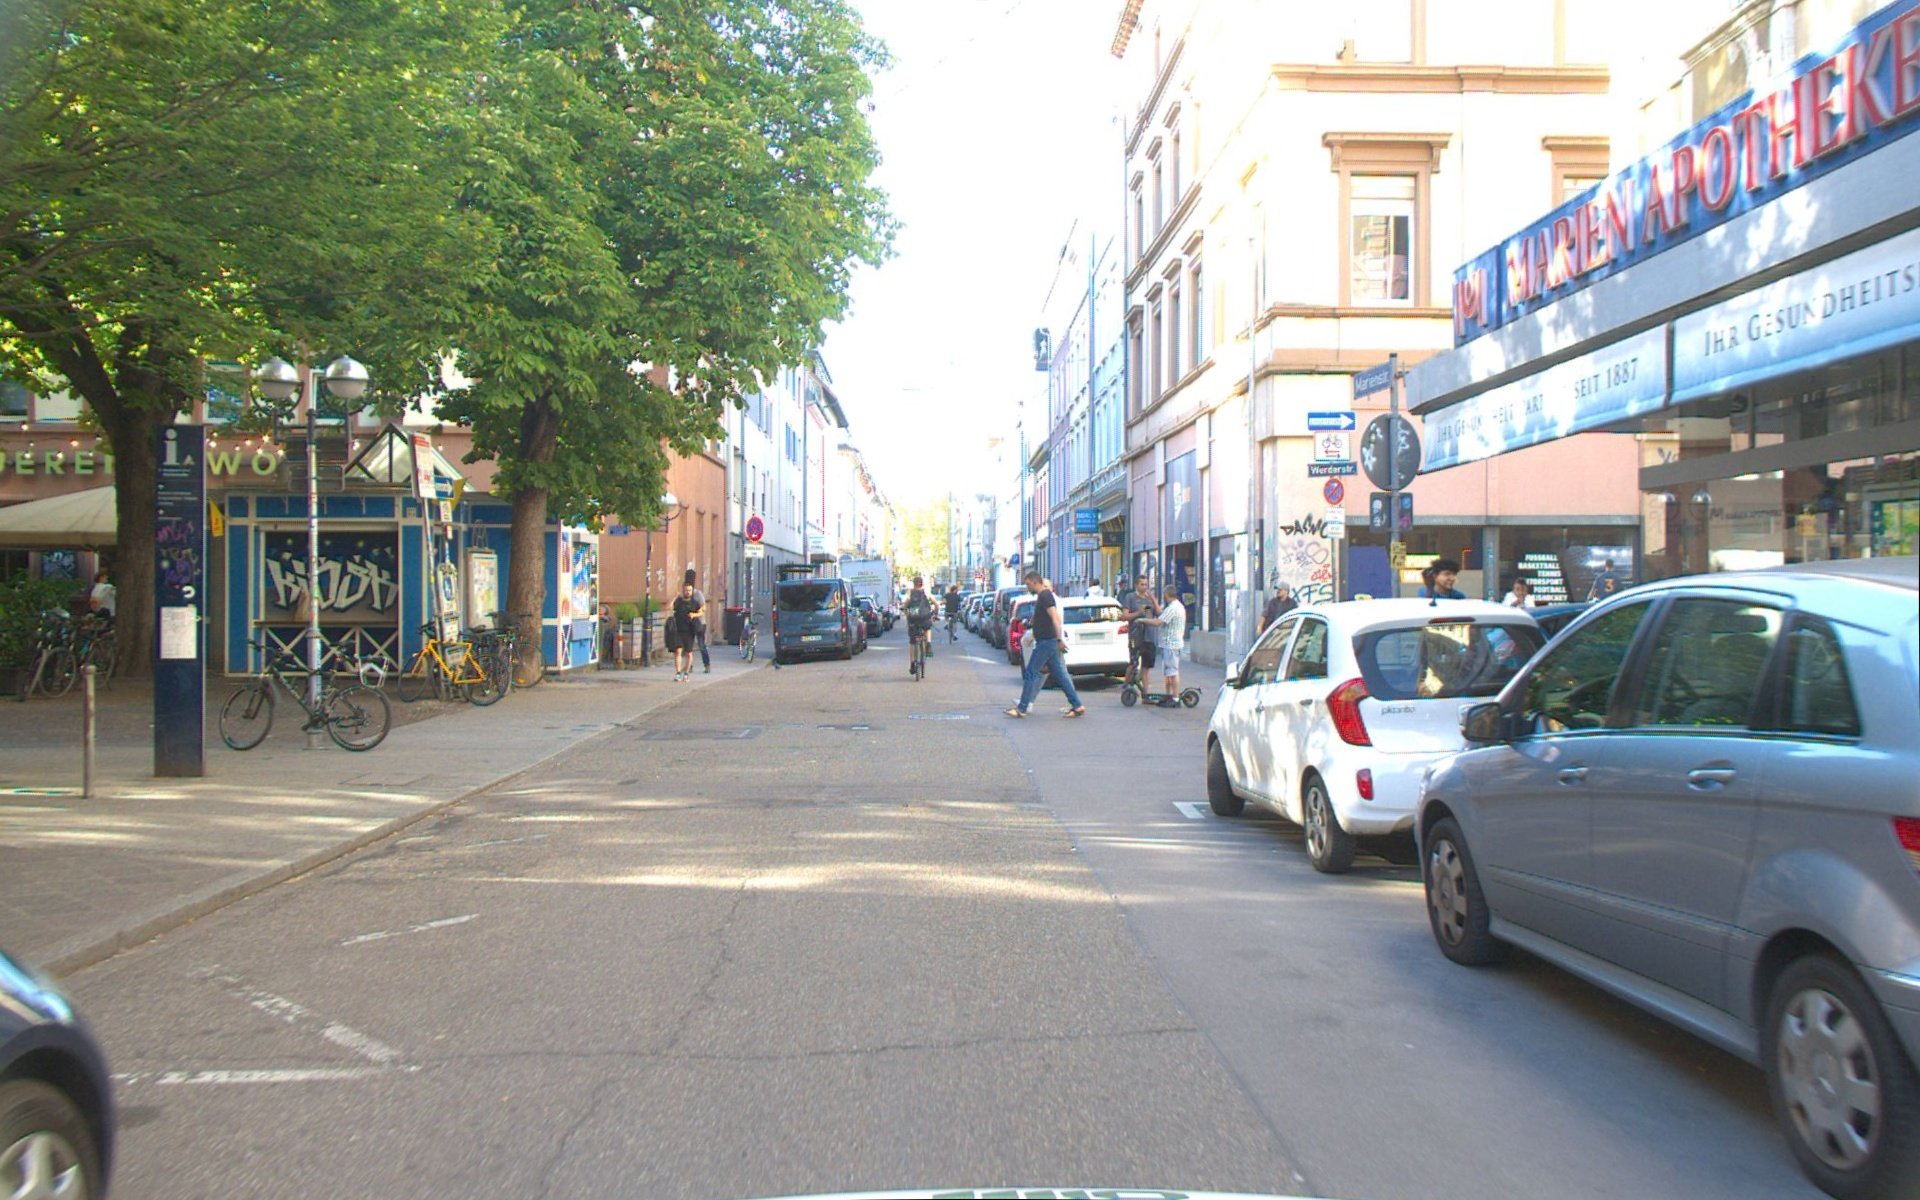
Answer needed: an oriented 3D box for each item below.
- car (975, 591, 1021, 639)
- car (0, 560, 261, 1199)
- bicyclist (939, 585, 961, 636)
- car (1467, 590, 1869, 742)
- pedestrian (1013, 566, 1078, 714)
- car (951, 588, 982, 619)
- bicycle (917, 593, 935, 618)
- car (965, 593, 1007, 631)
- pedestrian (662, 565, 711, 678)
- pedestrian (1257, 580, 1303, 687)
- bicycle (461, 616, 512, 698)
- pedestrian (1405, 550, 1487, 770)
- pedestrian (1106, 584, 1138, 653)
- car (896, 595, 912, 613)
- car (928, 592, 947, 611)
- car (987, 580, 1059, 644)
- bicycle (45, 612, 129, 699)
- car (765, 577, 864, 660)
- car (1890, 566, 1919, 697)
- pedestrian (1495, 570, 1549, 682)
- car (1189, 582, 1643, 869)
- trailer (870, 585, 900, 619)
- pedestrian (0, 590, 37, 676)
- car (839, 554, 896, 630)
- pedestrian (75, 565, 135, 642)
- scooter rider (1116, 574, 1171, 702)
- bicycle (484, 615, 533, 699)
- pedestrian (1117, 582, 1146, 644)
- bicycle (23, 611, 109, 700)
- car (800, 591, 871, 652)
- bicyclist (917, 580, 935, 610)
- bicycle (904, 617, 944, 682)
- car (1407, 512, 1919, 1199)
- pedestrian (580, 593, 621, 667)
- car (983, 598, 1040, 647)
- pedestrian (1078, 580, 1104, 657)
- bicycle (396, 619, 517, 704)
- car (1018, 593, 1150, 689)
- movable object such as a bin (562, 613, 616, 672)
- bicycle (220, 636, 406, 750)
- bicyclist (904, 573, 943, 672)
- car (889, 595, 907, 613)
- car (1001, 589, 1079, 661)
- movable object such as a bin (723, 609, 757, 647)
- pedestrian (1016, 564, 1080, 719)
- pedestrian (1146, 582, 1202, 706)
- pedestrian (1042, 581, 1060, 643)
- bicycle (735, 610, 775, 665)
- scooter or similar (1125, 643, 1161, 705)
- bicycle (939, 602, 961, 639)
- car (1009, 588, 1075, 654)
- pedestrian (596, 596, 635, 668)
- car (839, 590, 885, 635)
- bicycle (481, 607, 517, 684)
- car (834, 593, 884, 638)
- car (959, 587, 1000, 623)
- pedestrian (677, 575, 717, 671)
[{"bbox_3d":[1.424,0.562,62.883,1.525,1.742,3.557,1,0,-2],"label":"car"},{"bbox_3d":[-2.465,0.704,1.847,1.757,1.579,3.833,1,0,-1],"label":"car"},{"bbox_3d":[-0.327,0.325,52.414,0.657,1.595,0.716,1,-1,-1],"label":"bicyclist"},{"bbox_3d":[7.399,0.657,17.519,3.501,1.512,1.788,0,0,-1],"label":"car"},{"bbox_3d":[1.099,0.505,21.303,0.746,1.867,0.688,1,-1,-3],"label":"pedestrian"},{"bbox_3d":[0.384,0.225,105.539,1.715,1.911,3.969,-1,0,-4],"label":"car"},{"bbox_3d":[-1.915,0.295,94.099,0.957,1.337,2.555,-2,0,0],"label":"bicycle"},{"bbox_3d":[1.124,0.519,73.708,1.652,1.570,4.044,-2,0,-2],"label":"car"},{"bbox_3d":[-4.681,0.366,28.334,0.702,1.906,0.720,1,-1,-2],"label":"pedestrian"},{"bbox_3d":[5.090,0.521,26.310,0.588,1.678,0.464,0,2,30],"label":"pedestrian"},{"bbox_3d":[-6.681,0.786,23.387,0.286,1.064,1.578,1,1,-1],"label":"bicycle"},{"bbox_3d":[4.345,0.526,14.795,0.550,1.927,0.530,1,-1,-2],"label":"pedestrian"},{"bbox_3d":[4.185,0.477,42.839,0.618,1.771,0.656,1,-1,-14],"label":"pedestrian"},{"bbox_3d":[-6.049,0.435,179.591,1.715,1.853,3.794,-1,0,-2],"label":"car"},{"bbox_3d":[-1.905,0.114,139.139,1.578,1.587,3.609,0,0,-2],"label":"car"},{"bbox_3d":[1.834,0.360,49.524,1.861,1.825,4.313,1,0,-2],"label":"car"},{"bbox_3d":[-12.310,0.762,23.374,0.224,1.110,1.937,1,2,-2],"label":"bicycle"},{"bbox_3d":[-3.558,0.420,41.345,1.979,1.912,5.297,1,0,0],"label":"car"},{"bbox_3d":[15.734,0.462,23.611,3.845,1.872,1.868,0,2,-2],"label":"car"},{"bbox_3d":[8.938,0.414,26.333,0.677,1.756,0.475,1,-1,-2],"label":"pedestrian"},{"bbox_3d":[2.661,0.676,10.513,1.656,1.488,3.637,1,0,-4],"label":"car"},{"bbox_3d":[-4.912,0.137,108.878,1.844,2.129,3.736,-1,0,-2],"label":"trailer"},{"bbox_3d":[-15.107,0.521,26.244,0.556,1.344,0.634,1,-1,-2],"label":"pedestrian"},{"bbox_3d":[-4.364,-0.344,79.222,2.296,3.349,7.152,-2,0,-1],"label":"car"},{"bbox_3d":[-15.108,0.062,29.232,0.682,1.344,0.613,1,-1,7],"label":"pedestrian"},{"bbox_3d":[2.638,0.534,23.714,0.553,1.809,0.609,0,-1,34],"label":"scooter rider"},{"bbox_3d":[-6.374,0.780,23.381,0.286,1.101,1.578,1,1,-1],"label":"bicycle"},{"bbox_3d":[4.362,0.323,42.067,0.576,1.556,0.658,1,-1,-7],"label":"pedestrian"},{"bbox_3d":[-12.575,0.756,23.312,0.224,1.110,1.937,1,2,-2],"label":"bicycle"},{"bbox_3d":[-3.477,0.609,46.783,1.715,1.548,3.868,-3,0,-1],"label":"car"},{"bbox_3d":[-1.937,-0.257,93.848,0.931,1.656,0.953,-2,0,-1],"label":"bicyclist"},{"bbox_3d":[-0.649,0.847,29.180,0.663,1.093,1.941,1,0,-2],"label":"bicycle"},{"bbox_3d":[2.981,0.659,5.621,1.666,1.679,4.062,1,0,-2],"label":"car"},{"bbox_3d":[-7.287,0.600,33.553,0.691,1.471,0.617,1,-1,-3],"label":"pedestrian"},{"bbox_3d":[1.667,0.722,54.805,1.521,1.537,3.609,1,0,-4],"label":"car"},{"bbox_3d":[3.021,0.427,38.252,0.549,1.771,0.428,1,-1,0],"label":"pedestrian"},{"bbox_3d":[-6.735,0.811,22.122,1.540,1.101,0.347,1,-1,9],"label":"bicycle"},{"bbox_3d":[2.101,0.691,29.047,1.751,1.542,4.133,1,0,-4],"label":"car"},{"bbox_3d":[-7.169,0.814,32.007,0.852,1.105,0.774,1,-1,-1],"label":"movable object such as a bin"},{"bbox_3d":[-6.339,0.910,16.239,1.656,1.084,0.346,1,-1,-3],"label":"bicycle"},{"bbox_3d":[-0.642,0.394,29.193,0.654,1.706,1.097,1,-1,-2],"label":"bicyclist"},{"bbox_3d":[-6.087,0.370,162.105,1.715,1.713,3.794,-1,0,-2],"label":"car"},{"bbox_3d":[1.862,0.584,39.192,1.574,1.600,3.552,1,0,-2],"label":"car"},{"bbox_3d":[-6.413,0.808,48.209,0.743,1.085,0.652,1,-1,18],"label":"movable object such as a bin"},{"bbox_3d":[1.070,0.498,20.335,0.680,1.857,1.002,0,0,-3],"label":"pedestrian"},{"bbox_3d":[2.938,0.594,22.715,0.519,1.667,0.561,0,-1,43],"label":"pedestrian"},{"bbox_3d":[2.574,0.334,46.762,0.432,1.734,0.654,1,-1,-1],"label":"pedestrian"},{"bbox_3d":[-4.754,0.853,38.294,0.541,1.238,1.978,1,-1,-18],"label":"bicycle"},{"bbox_3d":[2.583,1.042,23.411,0.385,0.843,0.925,1,-1,-1],"label":"scooter or similar"},{"bbox_3d":[-0.326,0.647,52.499,0.635,1.149,2.135,1,0,-2],"label":"bicycle"},{"bbox_3d":[2.144,0.542,43.835,1.537,1.584,3.314,-3,0,1],"label":"car"},{"bbox_3d":[-7.133,0.654,34.269,0.691,1.471,0.617,1,-1,-3],"label":"pedestrian"},{"bbox_3d":[-4.012,0.486,68.352,1.682,1.679,4.244,-3,1,-2],"label":"car"},{"bbox_3d":[-7.288,0.701,26.210,0.488,1.151,2.030,1,0,-15],"label":"bicycle"},{"bbox_3d":[-3.795,0.560,62.792,1.682,1.504,4.497,-3,1,-2],"label":"car"},{"bbox_3d":[0.947,0.250,82.060,1.879,1.736,4.365,0,0,-2],"label":"car"},{"bbox_3d":[-5.214,0.453,32.853,0.633,1.866,0.697,2,-1,-2],"label":"pedestrian"}]
